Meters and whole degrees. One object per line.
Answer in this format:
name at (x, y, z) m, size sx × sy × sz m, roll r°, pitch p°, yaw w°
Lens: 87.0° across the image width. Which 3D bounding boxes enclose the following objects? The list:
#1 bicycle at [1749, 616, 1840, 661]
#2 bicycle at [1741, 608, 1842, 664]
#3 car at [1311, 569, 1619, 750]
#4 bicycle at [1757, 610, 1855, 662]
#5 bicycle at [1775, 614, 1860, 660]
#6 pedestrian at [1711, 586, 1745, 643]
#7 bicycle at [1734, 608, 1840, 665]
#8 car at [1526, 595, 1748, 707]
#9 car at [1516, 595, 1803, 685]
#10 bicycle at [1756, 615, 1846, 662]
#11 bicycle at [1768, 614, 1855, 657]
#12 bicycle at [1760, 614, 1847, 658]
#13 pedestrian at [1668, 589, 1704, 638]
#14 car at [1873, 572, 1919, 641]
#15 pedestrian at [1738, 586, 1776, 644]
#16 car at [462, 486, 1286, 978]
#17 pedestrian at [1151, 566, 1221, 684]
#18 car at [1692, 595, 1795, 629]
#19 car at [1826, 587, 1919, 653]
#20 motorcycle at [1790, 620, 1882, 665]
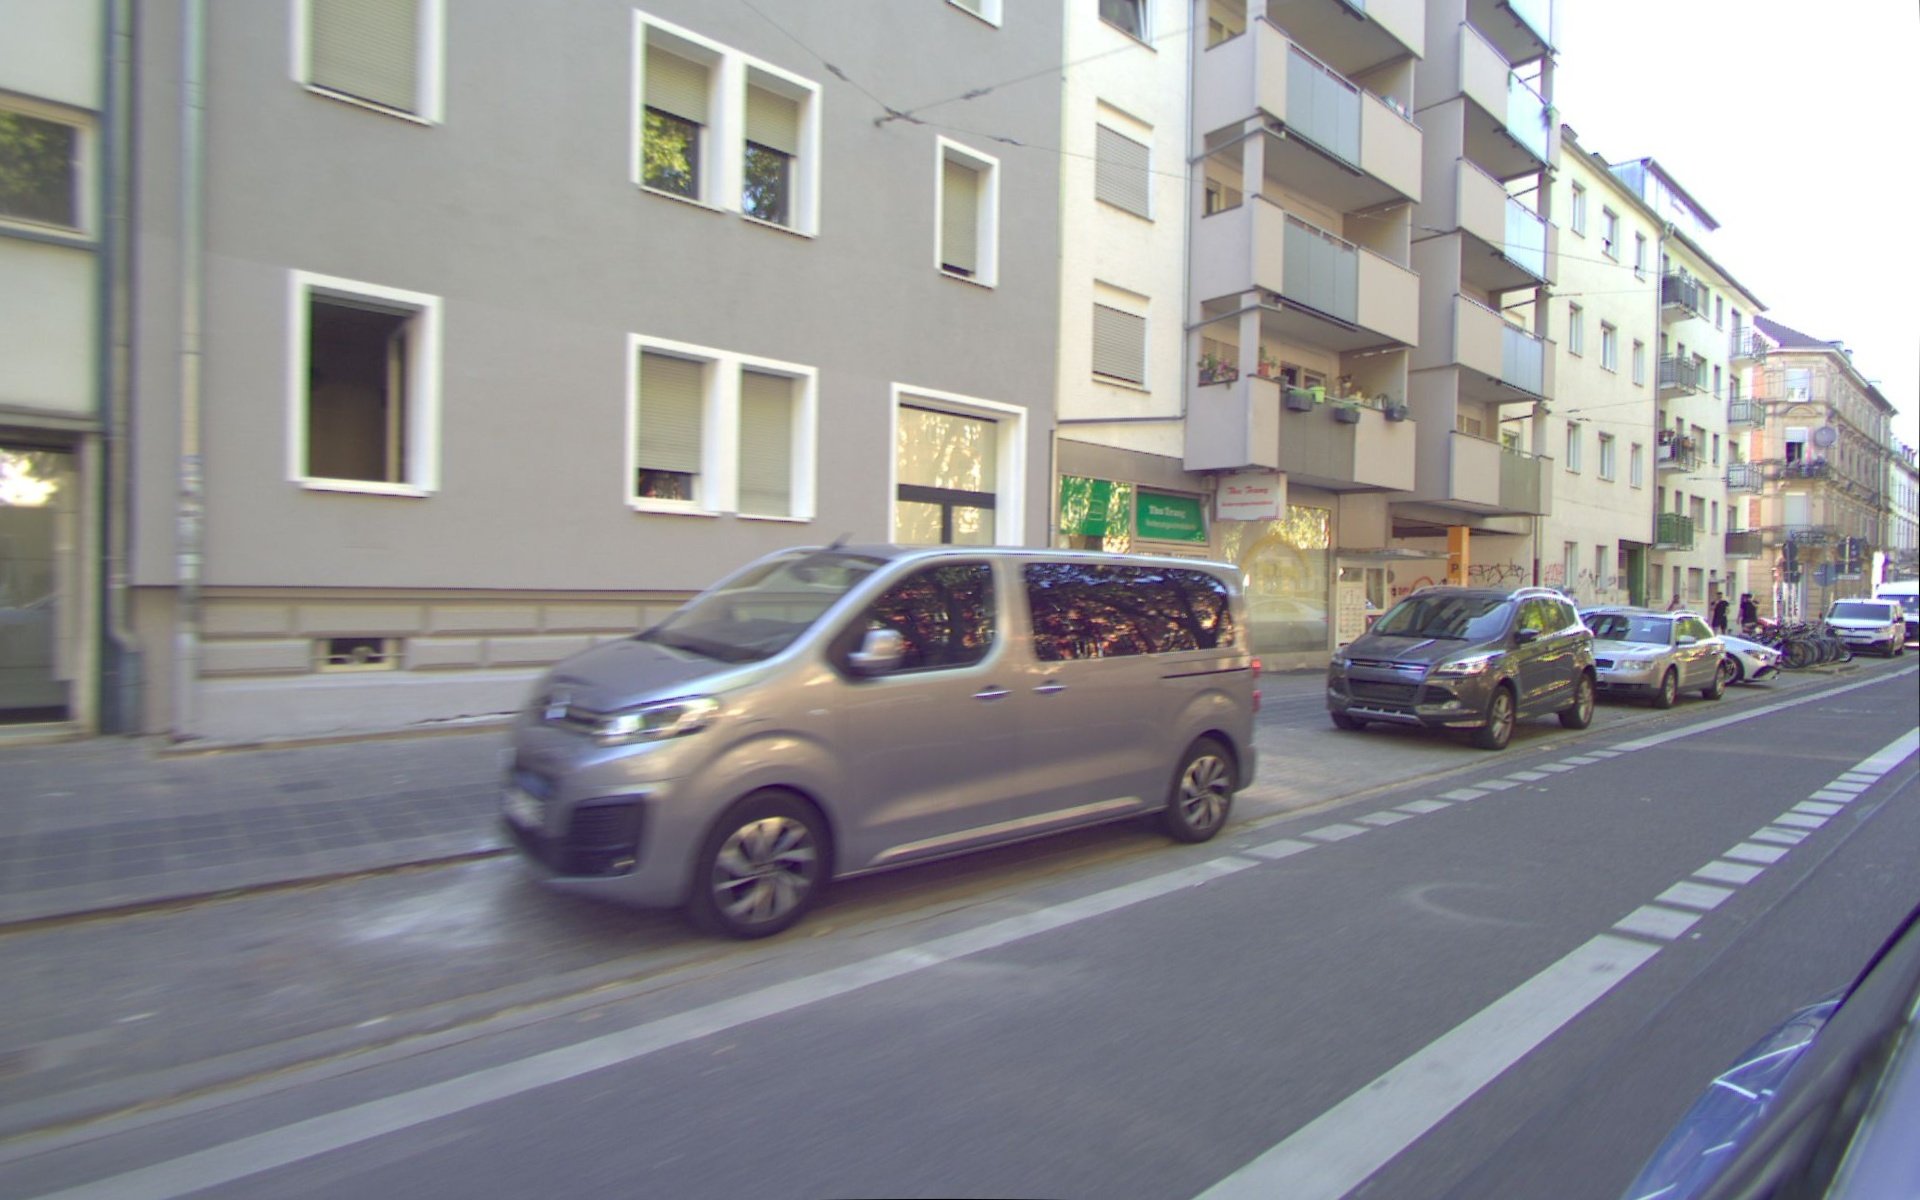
bicycle at (20.707, 0.939, 25.134) m, size 0.449 × 0.978 × 1.656 m, roll 1°, pitch 3°, yaw -40°
bicycle at (20.361, 0.858, 24.812) m, size 0.449 × 1.206 × 1.827 m, roll 1°, pitch 3°, yaw -40°
car at (6.018, 0.558, 11.842) m, size 4.209 × 1.726 × 1.770 m, roll 0°, pitch 2°, yaw -42°
bicycle at (21.565, 0.886, 25.828) m, size 0.692 × 1.162 × 1.798 m, roll 0°, pitch 3°, yaw -40°
bicycle at (22.947, 0.977, 27.113) m, size 0.449 × 1.068 × 1.656 m, roll 1°, pitch 3°, yaw -40°
pedestrian at (25.575, 0.475, 33.700) m, size 1.062 × 1.845 × 0.626 m, roll 0°, pitch 2°, yaw -39°
bicycle at (20.001, 0.857, 24.513) m, size 0.449 × 1.206 × 1.896 m, roll 1°, pitch 3°, yaw -40°
car at (10.938, 0.712, 16.229) m, size 4.431 × 1.544 × 1.728 m, roll 0°, pitch 1°, yaw -39°
car at (14.088, 0.714, 20.594) m, size 4.607 × 1.455 × 1.838 m, roll 3°, pitch 2°, yaw 39°
bicycle at (21.090, 0.938, 25.403) m, size 0.449 × 1.033 × 1.656 m, roll 1°, pitch 3°, yaw -40°
bicycle at (22.524, 0.929, 26.794) m, size 0.449 × 0.999 × 1.656 m, roll 1°, pitch 3°, yaw -40°
bicycle at (22.010, 0.929, 26.425) m, size 0.449 × 0.999 × 1.656 m, roll 1°, pitch 3°, yaw -40°
pedestrian at (24.847, 0.447, 34.641) m, size 0.916 × 1.598 × 0.634 m, roll 0°, pitch 6°, yaw -39°
car at (37.160, 0.214, 39.098) m, size 5.982 × 2.526 × 2.153 m, roll 0°, pitch 1°, yaw -41°
pedestrian at (25.999, 0.467, 33.020) m, size 1.062 × 1.845 × 0.711 m, roll 0°, pitch 2°, yaw -39°
car at (-0.199, 0.503, 6.202) m, size 4.836 × 1.913 × 1.863 m, roll 0°, pitch 1°, yaw -39°
pedestrian at (3.415, 0.362, 15.323) m, size 0.705 × 1.741 × 0.760 m, roll 1°, pitch 0°, yaw -24°
car at (38.257, 0.545, 49.459) m, size 1.758 × 1.594 × 3.659 m, roll 0°, pitch 0°, yaw -38°
car at (29.528, 0.574, 32.573) m, size 4.276 × 1.841 × 1.863 m, roll -1°, pitch 5°, yaw -42°
motorcycle at (23.746, 1.134, 27.479) m, size 0.604 × 1.093 × 1.829 m, roll 1°, pitch 2°, yaw -17°
